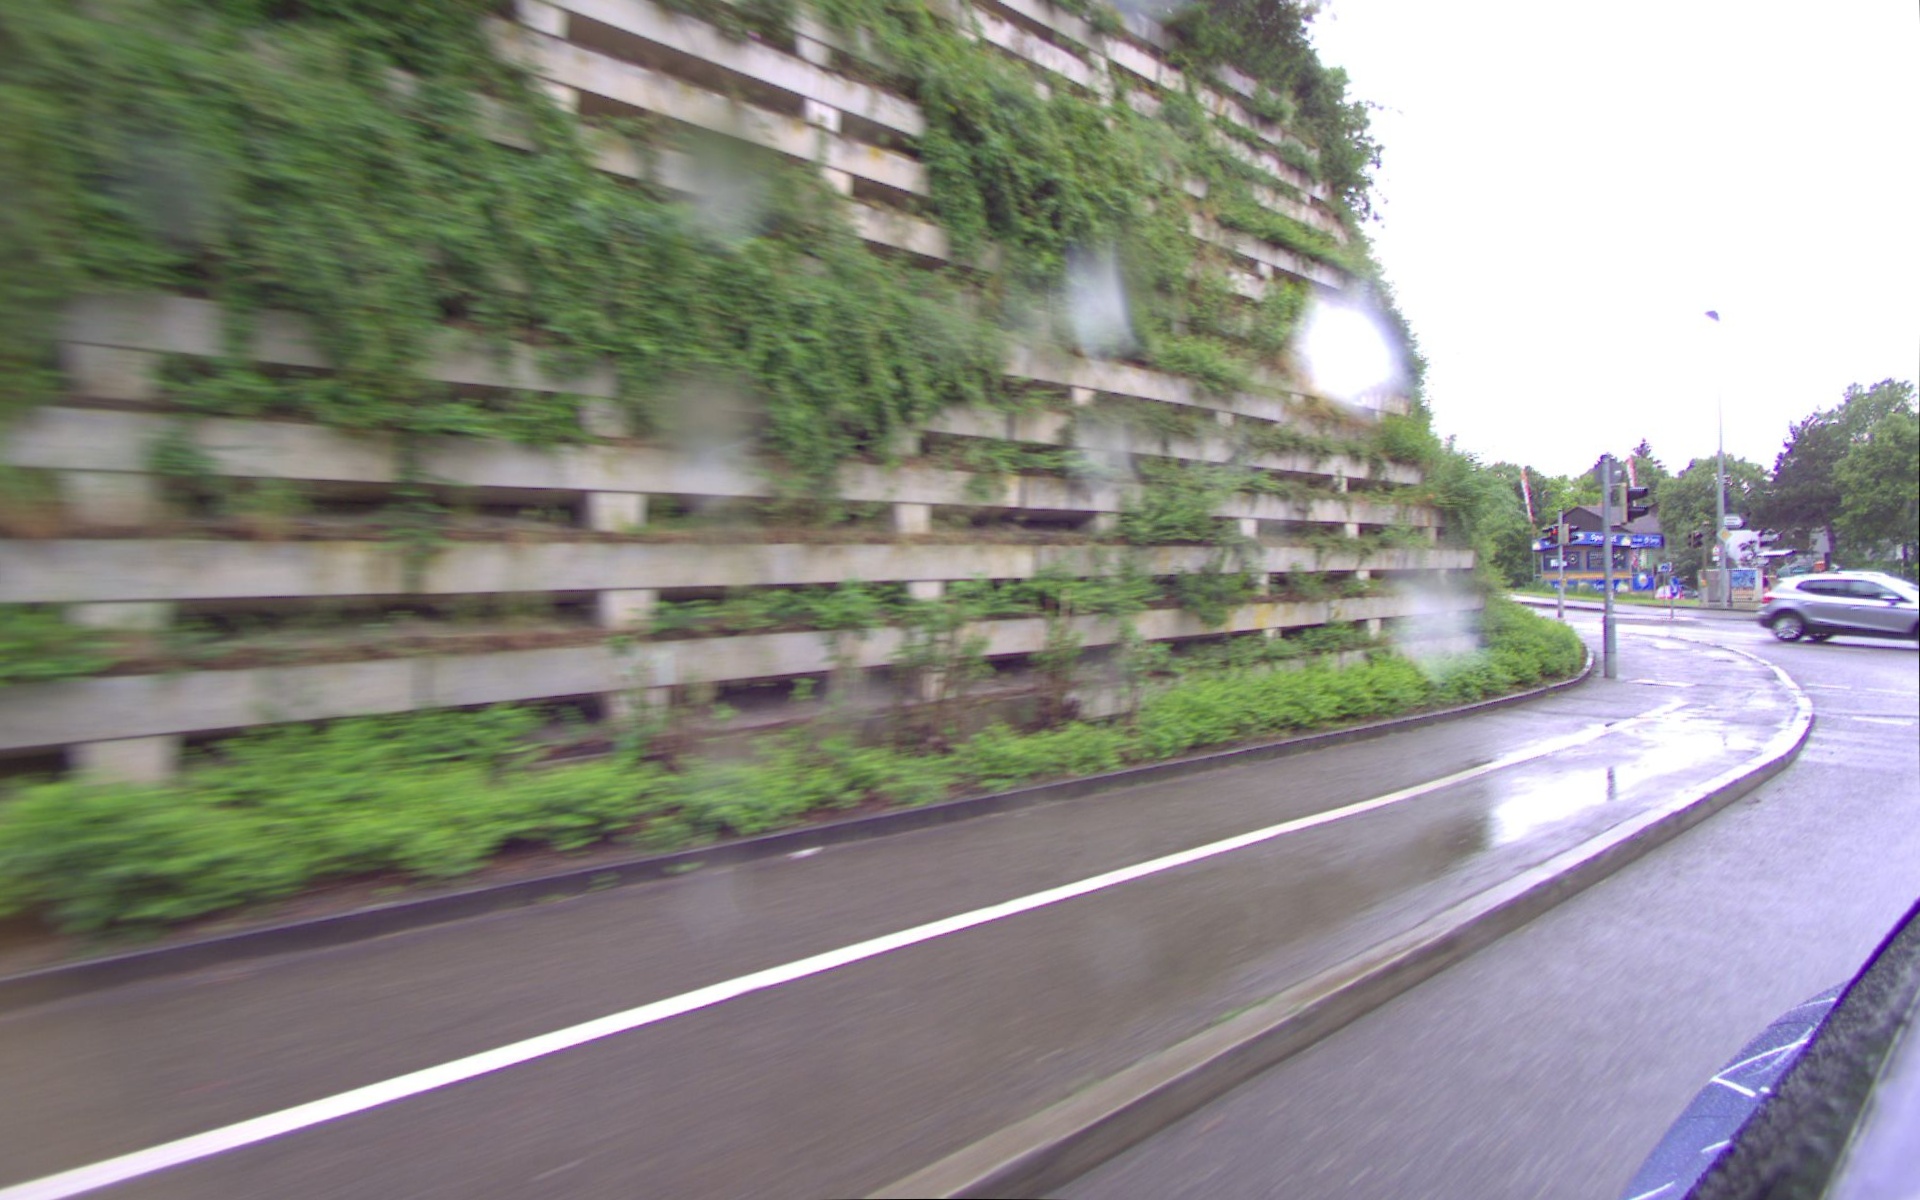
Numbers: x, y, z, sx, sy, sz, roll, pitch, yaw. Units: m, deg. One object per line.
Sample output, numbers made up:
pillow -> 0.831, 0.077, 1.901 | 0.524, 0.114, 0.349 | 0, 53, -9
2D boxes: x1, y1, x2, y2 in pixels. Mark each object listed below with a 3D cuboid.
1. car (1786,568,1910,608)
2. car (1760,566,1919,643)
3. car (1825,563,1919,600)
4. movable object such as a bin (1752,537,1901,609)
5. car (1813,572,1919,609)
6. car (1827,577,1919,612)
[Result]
car -> 40.173, -0.565, 45.838 | 1.641, 1.593, 3.996 | -1, 3, -40
car -> 20.014, 0.087, 21.666 | 1.648, 1.526, 4.162 | 1, 3, -27
car -> 49.094, -1.007, 53.839 | 1.887, 1.787, 4.386 | 0, 3, -39
movable object such as a bin -> 35.890, -1.111, 42.180 | 2.277, 2.719, 5.679 | 2, 1, 14
car -> 43.810, -0.472, 48.894 | 1.564, 1.593, 3.708 | 0, 3, -39
car -> 45.695, -0.299, 50.379 | 1.564, 1.529, 3.625 | 0, 3, -39
